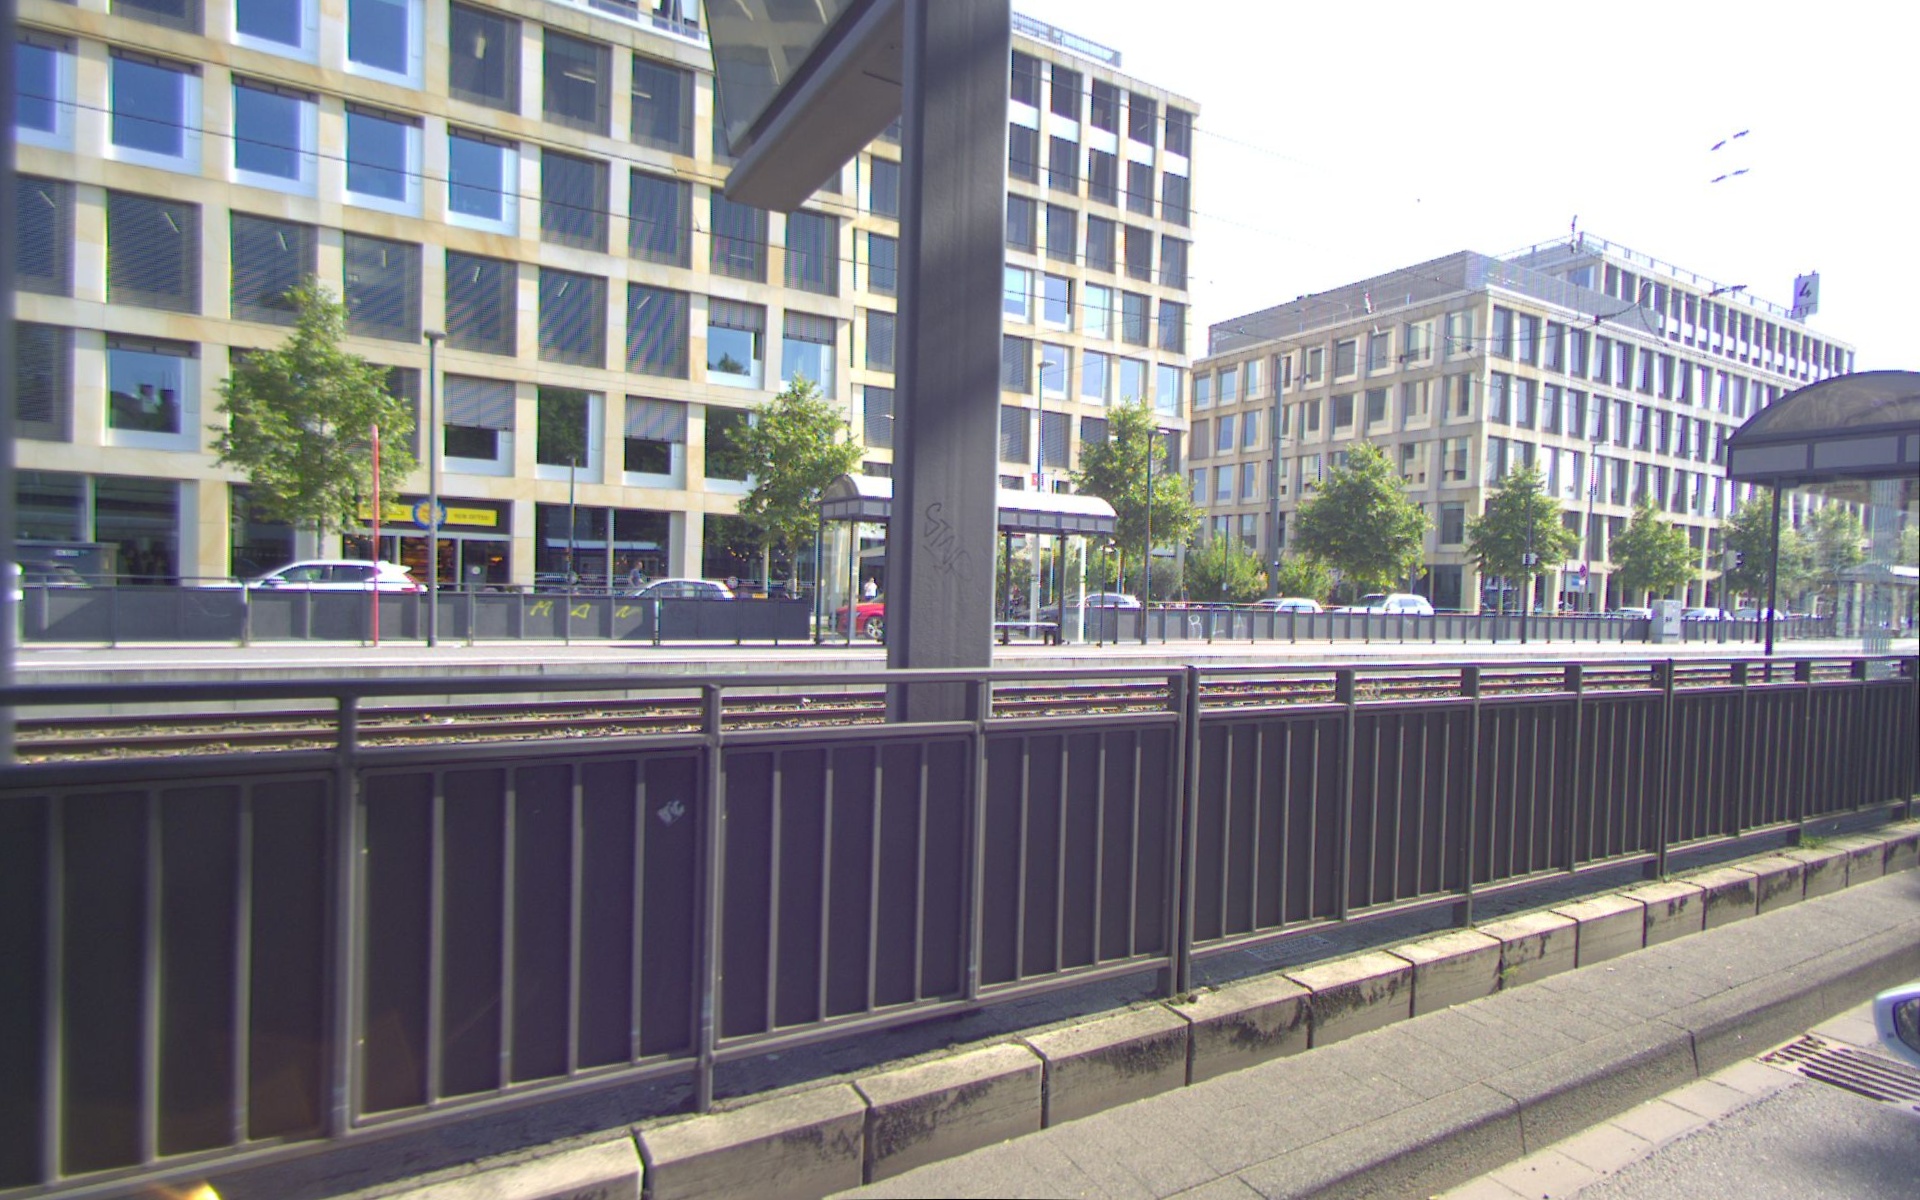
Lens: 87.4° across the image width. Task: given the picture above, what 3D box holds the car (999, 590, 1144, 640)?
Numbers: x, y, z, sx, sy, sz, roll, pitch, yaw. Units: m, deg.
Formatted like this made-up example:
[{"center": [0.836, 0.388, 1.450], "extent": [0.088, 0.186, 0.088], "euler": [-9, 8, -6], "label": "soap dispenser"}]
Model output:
[{"center": [3.444, 0.464, 30.792], "extent": [4.324, 1.426, 1.675], "euler": [1, 1, -32], "label": "car"}]

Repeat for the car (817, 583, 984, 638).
[{"center": [-1.599, 0.292, 27.662], "extent": [4.324, 1.426, 1.675], "euler": [1, 1, -32], "label": "car"}]

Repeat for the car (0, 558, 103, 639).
[{"center": [-18.056, -0.059, 17.884], "extent": [3.955, 1.422, 1.891], "euler": [1, 1, -32], "label": "car"}]

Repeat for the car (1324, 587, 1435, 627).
[{"center": [16.013, 0.285, 38.286], "extent": [4.321, 1.426, 1.675], "euler": [1, 1, -32], "label": "car"}]

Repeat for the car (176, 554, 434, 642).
[{"center": [-13.363, -0.029, 20.751], "extent": [4.273, 1.647, 1.779], "euler": [1, 1, -33], "label": "car"}]

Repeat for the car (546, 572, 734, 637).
[{"center": [-7.582, 0.109, 23.896], "extent": [3.955, 1.426, 1.780], "euler": [1, 1, -32], "label": "car"}]

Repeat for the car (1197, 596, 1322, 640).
[{"center": [10.344, 0.619, 34.617], "extent": [4.324, 1.426, 1.675], "euler": [1, 1, -32], "label": "car"}]
